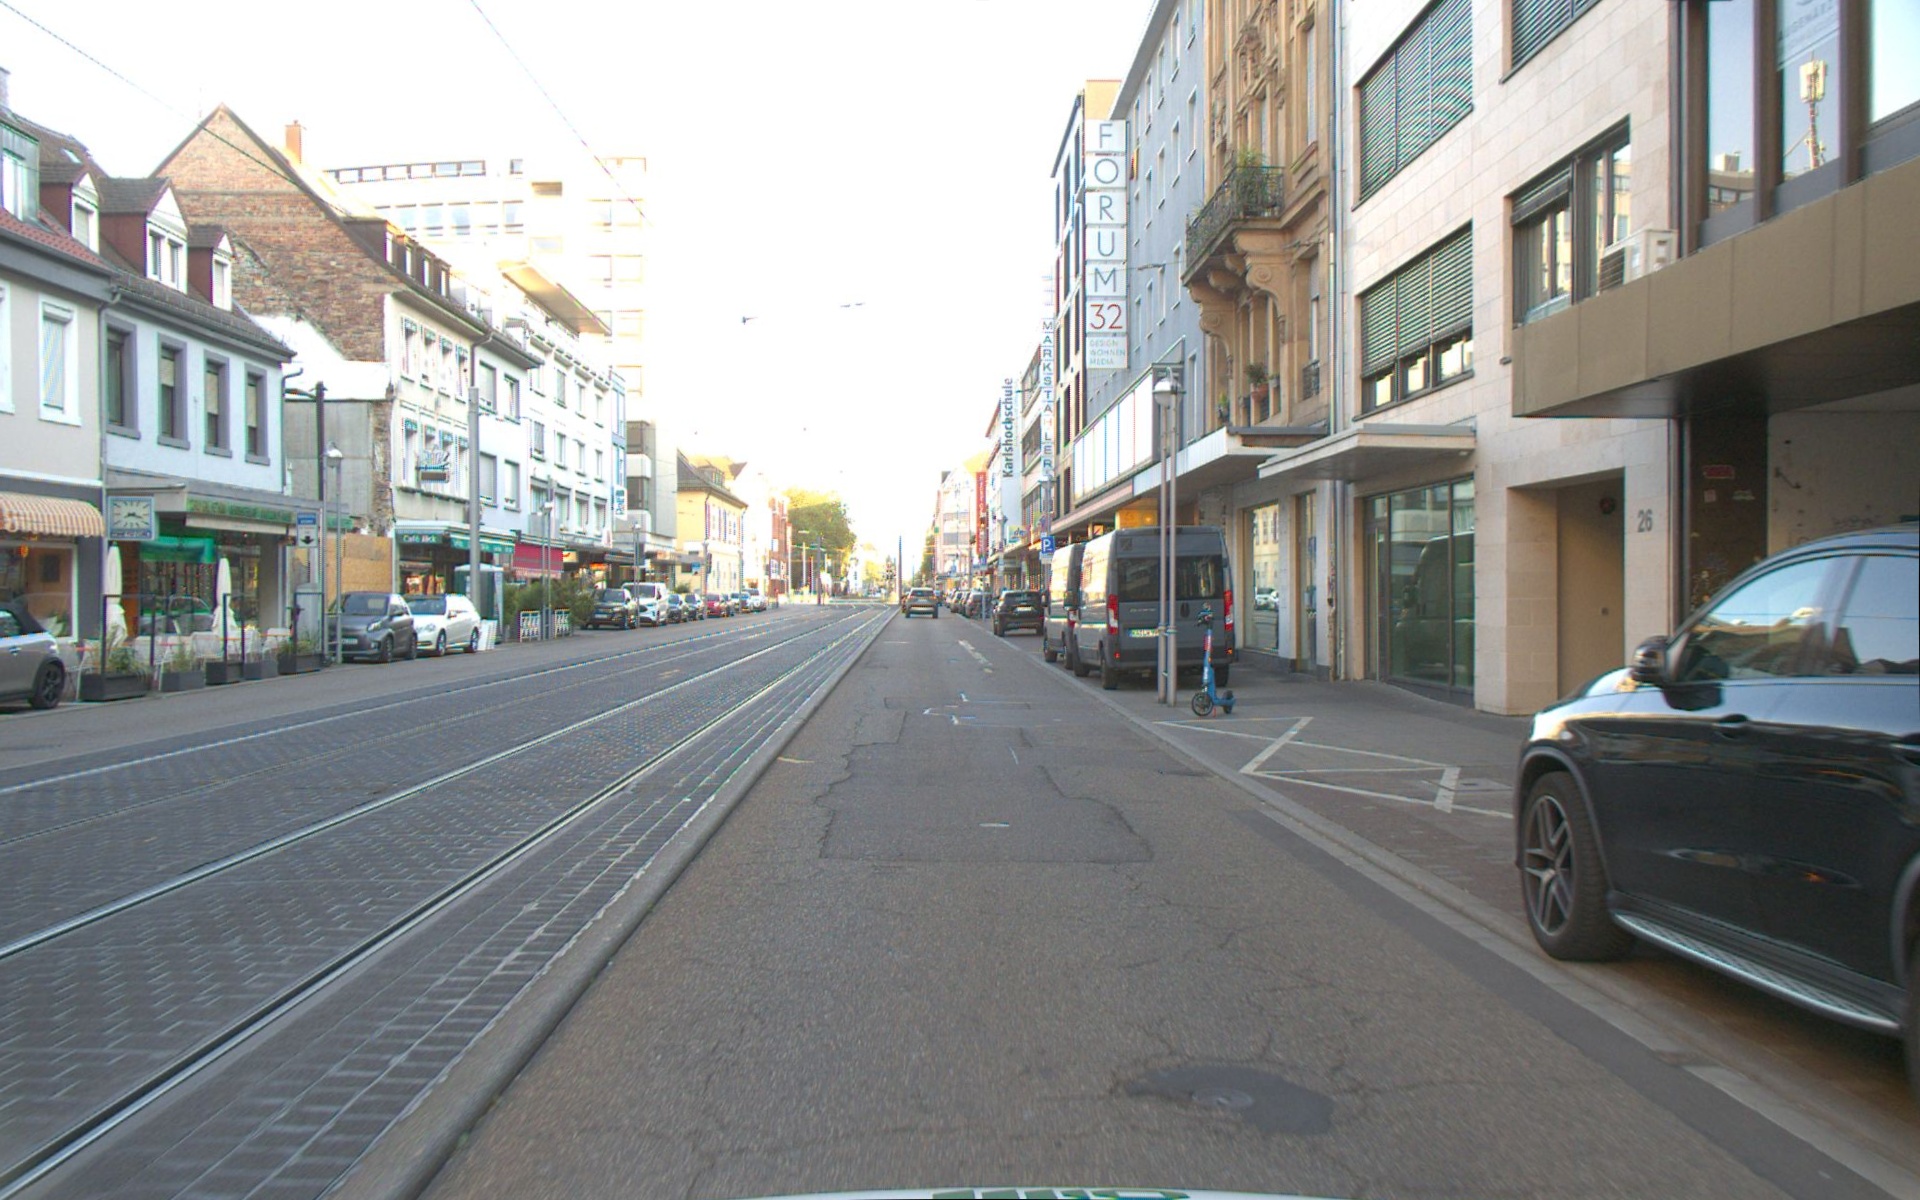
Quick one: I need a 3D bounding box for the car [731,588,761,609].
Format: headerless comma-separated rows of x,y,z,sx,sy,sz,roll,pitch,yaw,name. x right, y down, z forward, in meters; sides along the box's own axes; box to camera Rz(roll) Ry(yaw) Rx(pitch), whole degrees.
-15.348,-0.111,118.661,1.755,1.475,3.890,2,0,-2,car

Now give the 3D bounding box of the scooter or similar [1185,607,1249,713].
3.210,0.737,20.612,0.347,1.245,1.113,-2,0,31,scooter or similar

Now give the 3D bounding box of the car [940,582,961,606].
-0.933,-0.596,155.581,1.904,2.183,4.544,-2,0,-1,car

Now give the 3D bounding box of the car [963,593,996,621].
1.184,0.395,102.035,1.904,1.572,4.544,-2,0,-1,car

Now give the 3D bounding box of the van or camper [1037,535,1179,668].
2.991,0.014,34.781,2.145,2.468,5.515,-2,0,-3,van or camper

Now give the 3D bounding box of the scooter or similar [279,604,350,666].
-13.169,0.716,33.759,1.287,1.226,0.294,2,0,-1,scooter or similar

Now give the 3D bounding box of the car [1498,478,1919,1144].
3.479,0.516,5.198,1.944,1.765,4.670,-2,0,-1,car

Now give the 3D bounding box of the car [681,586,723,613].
-14.070,-0.054,90.367,1.755,1.362,3.890,2,0,-2,car

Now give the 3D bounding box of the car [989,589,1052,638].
2.059,0.434,57.565,1.904,1.572,4.544,-2,0,-1,car

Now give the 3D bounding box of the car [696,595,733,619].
-14.850,0.398,100.060,1.755,1.362,3.890,2,0,-2,car

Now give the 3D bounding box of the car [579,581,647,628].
-14.321,0.176,68.442,1.878,1.793,4.429,2,0,-1,car

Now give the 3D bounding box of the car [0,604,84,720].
-12.995,0.778,20.984,1.699,1.414,3.863,2,0,-1,car

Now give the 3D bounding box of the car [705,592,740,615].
-15.124,0.195,105.281,1.755,1.362,3.890,2,0,-2,car

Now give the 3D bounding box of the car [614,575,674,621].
-14.503,-0.110,76.112,1.878,1.969,4.840,2,0,-1,car

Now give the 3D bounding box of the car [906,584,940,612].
-2.107,-0.140,94.788,1.904,1.572,4.544,0,0,-1,car

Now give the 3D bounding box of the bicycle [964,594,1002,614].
1.285,0.220,91.926,2.077,1.109,0.591,-1,0,-4,bicycle

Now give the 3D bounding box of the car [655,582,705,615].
-14.187,-0.087,84.066,1.879,1.547,4.628,2,0,-2,car

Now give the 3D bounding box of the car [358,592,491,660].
-13.315,0.596,41.427,1.812,1.530,4.840,2,0,-1,car

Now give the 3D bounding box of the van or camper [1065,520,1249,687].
3.219,0.031,28.382,2.145,2.468,6.130,-2,0,-2,van or camper

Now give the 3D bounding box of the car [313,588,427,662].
-13.117,0.539,36.912,1.559,1.530,2.811,2,0,-2,car

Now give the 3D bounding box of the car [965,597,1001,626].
1.298,0.638,95.524,1.904,1.572,4.544,-2,0,-1,car

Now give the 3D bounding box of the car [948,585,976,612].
0.131,-0.122,117.113,1.904,1.733,4.544,-2,0,-1,car

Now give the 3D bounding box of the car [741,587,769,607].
-15.423,-0.224,124.683,1.755,1.475,3.890,2,0,-2,car
